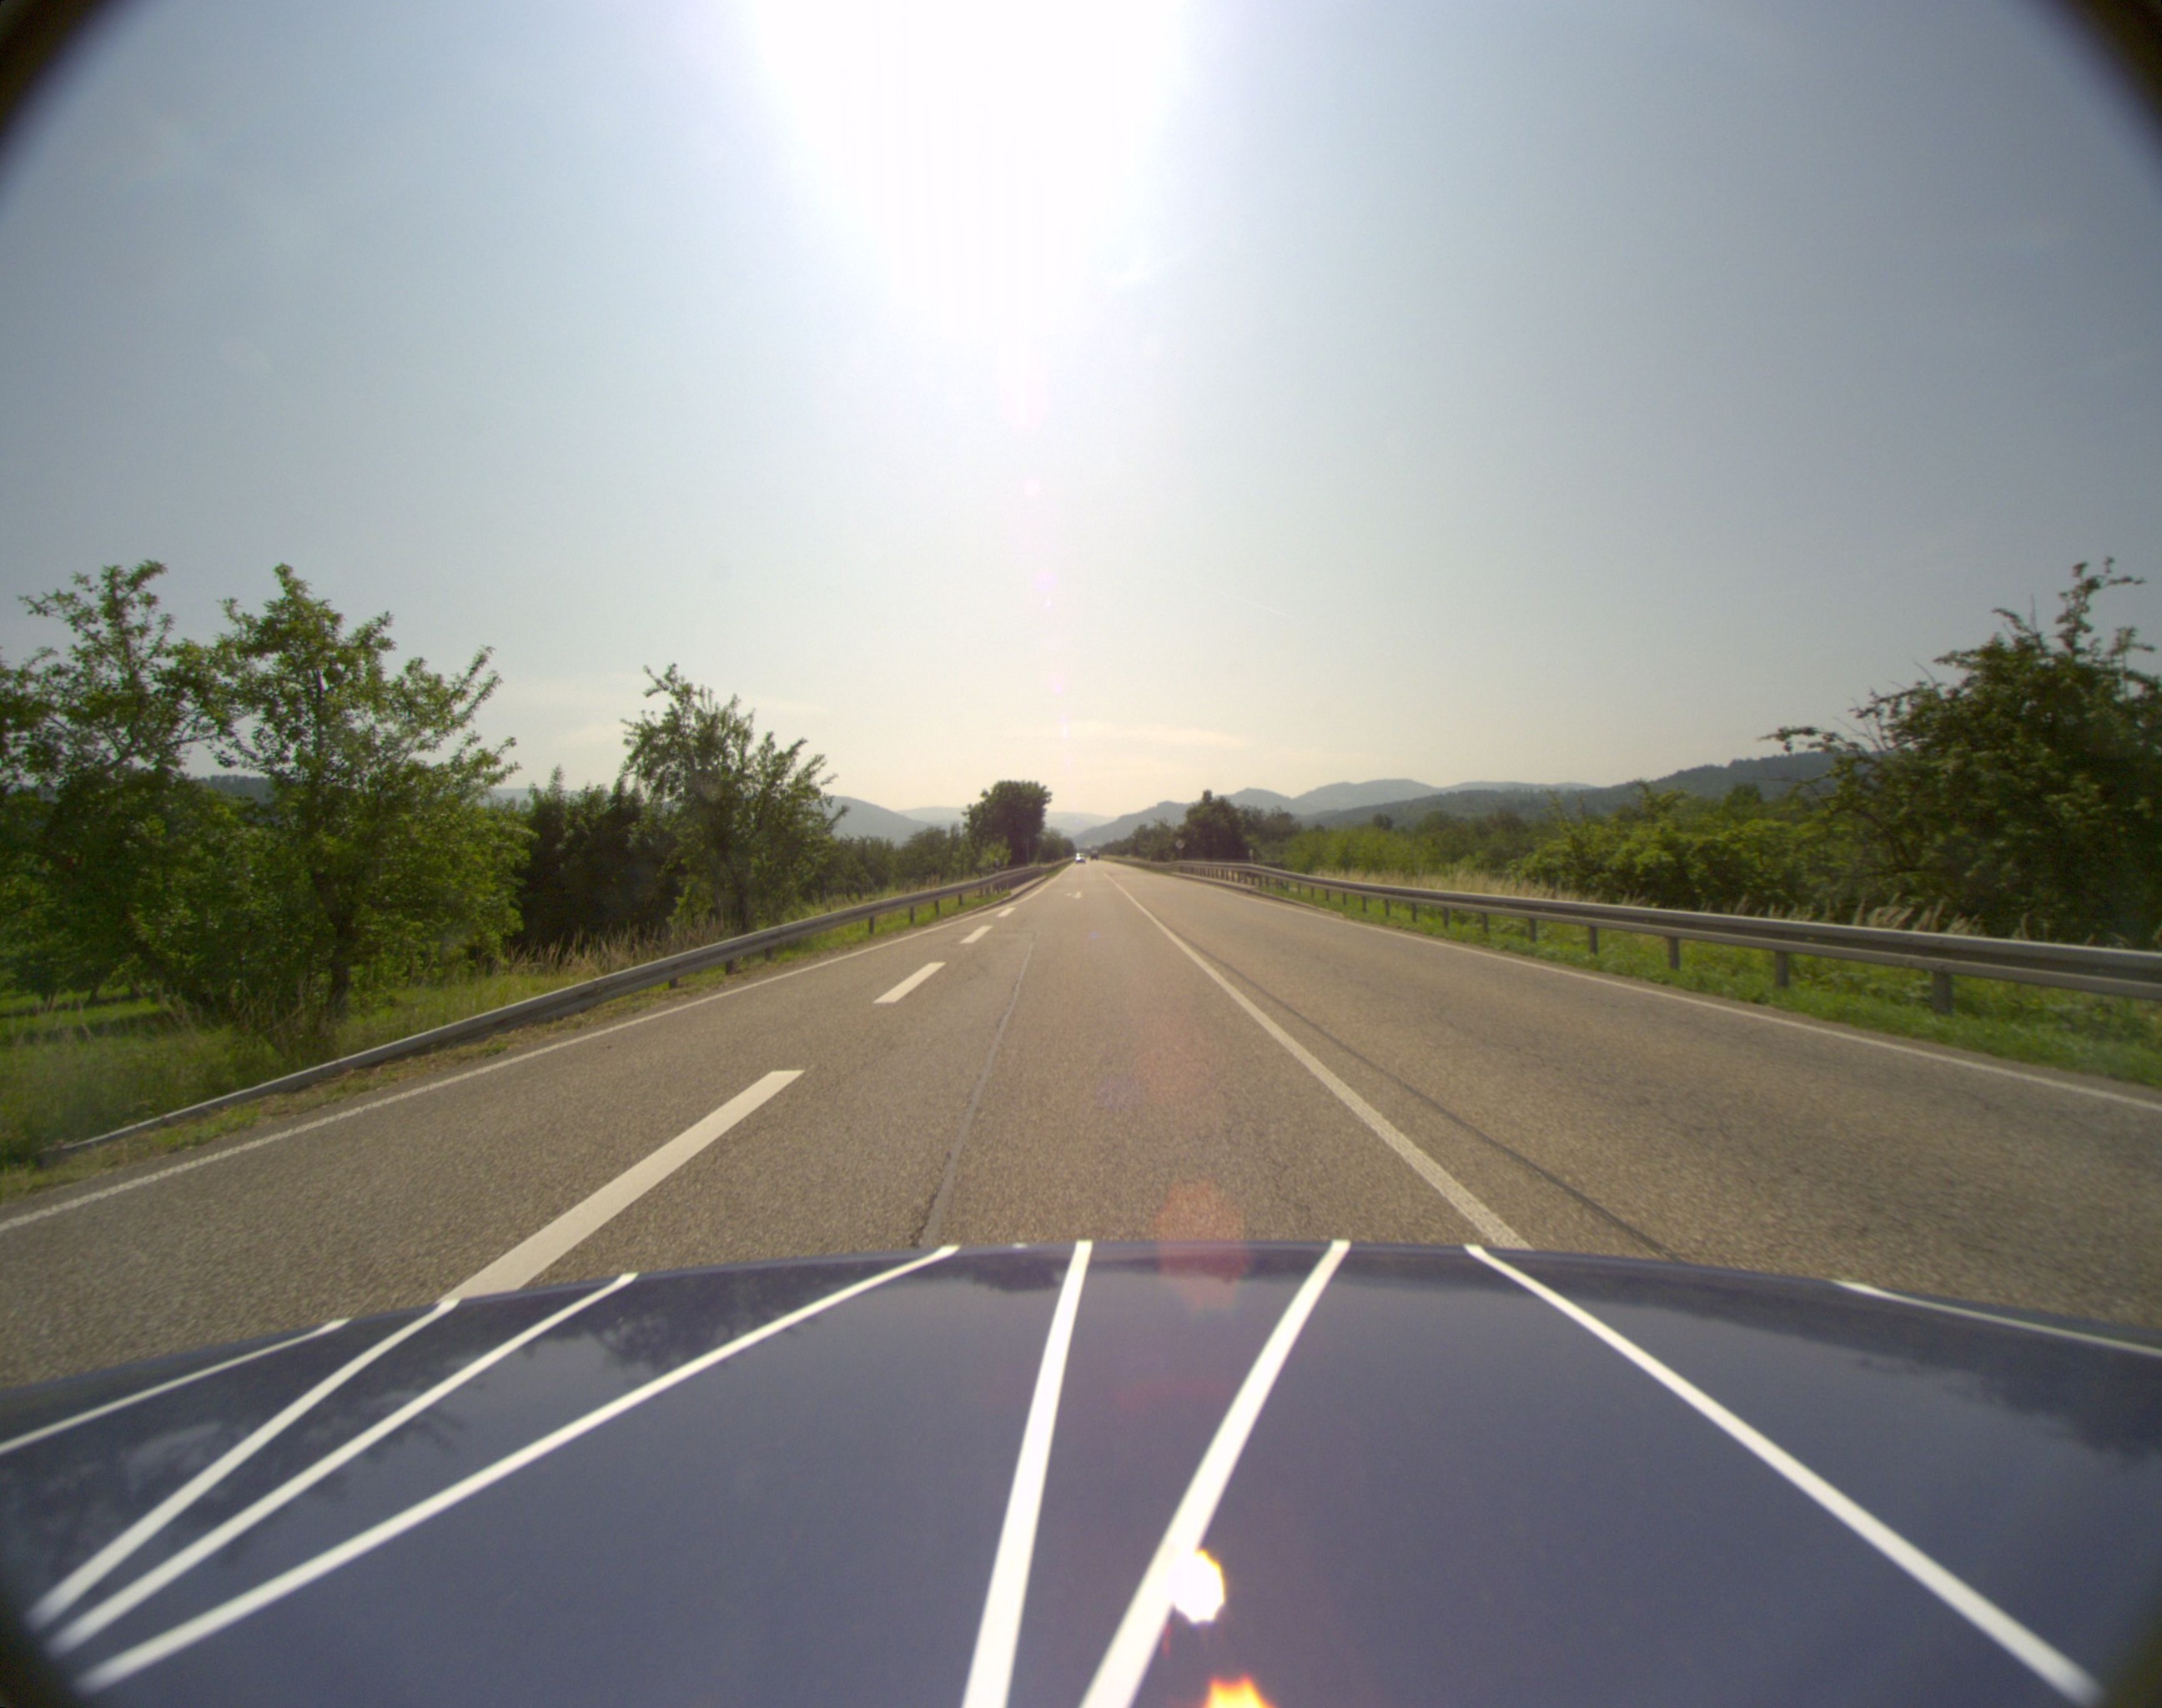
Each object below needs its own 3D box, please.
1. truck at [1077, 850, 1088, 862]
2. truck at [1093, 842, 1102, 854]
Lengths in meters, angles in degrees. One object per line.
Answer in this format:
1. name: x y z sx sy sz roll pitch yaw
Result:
1. truck: 0.263 0.336 148.453 2.032 2.232 4.764 -1 1 1
2. truck: 5.260 -2.046 246.194 2.735 3.651 9.381 -1 1 0
